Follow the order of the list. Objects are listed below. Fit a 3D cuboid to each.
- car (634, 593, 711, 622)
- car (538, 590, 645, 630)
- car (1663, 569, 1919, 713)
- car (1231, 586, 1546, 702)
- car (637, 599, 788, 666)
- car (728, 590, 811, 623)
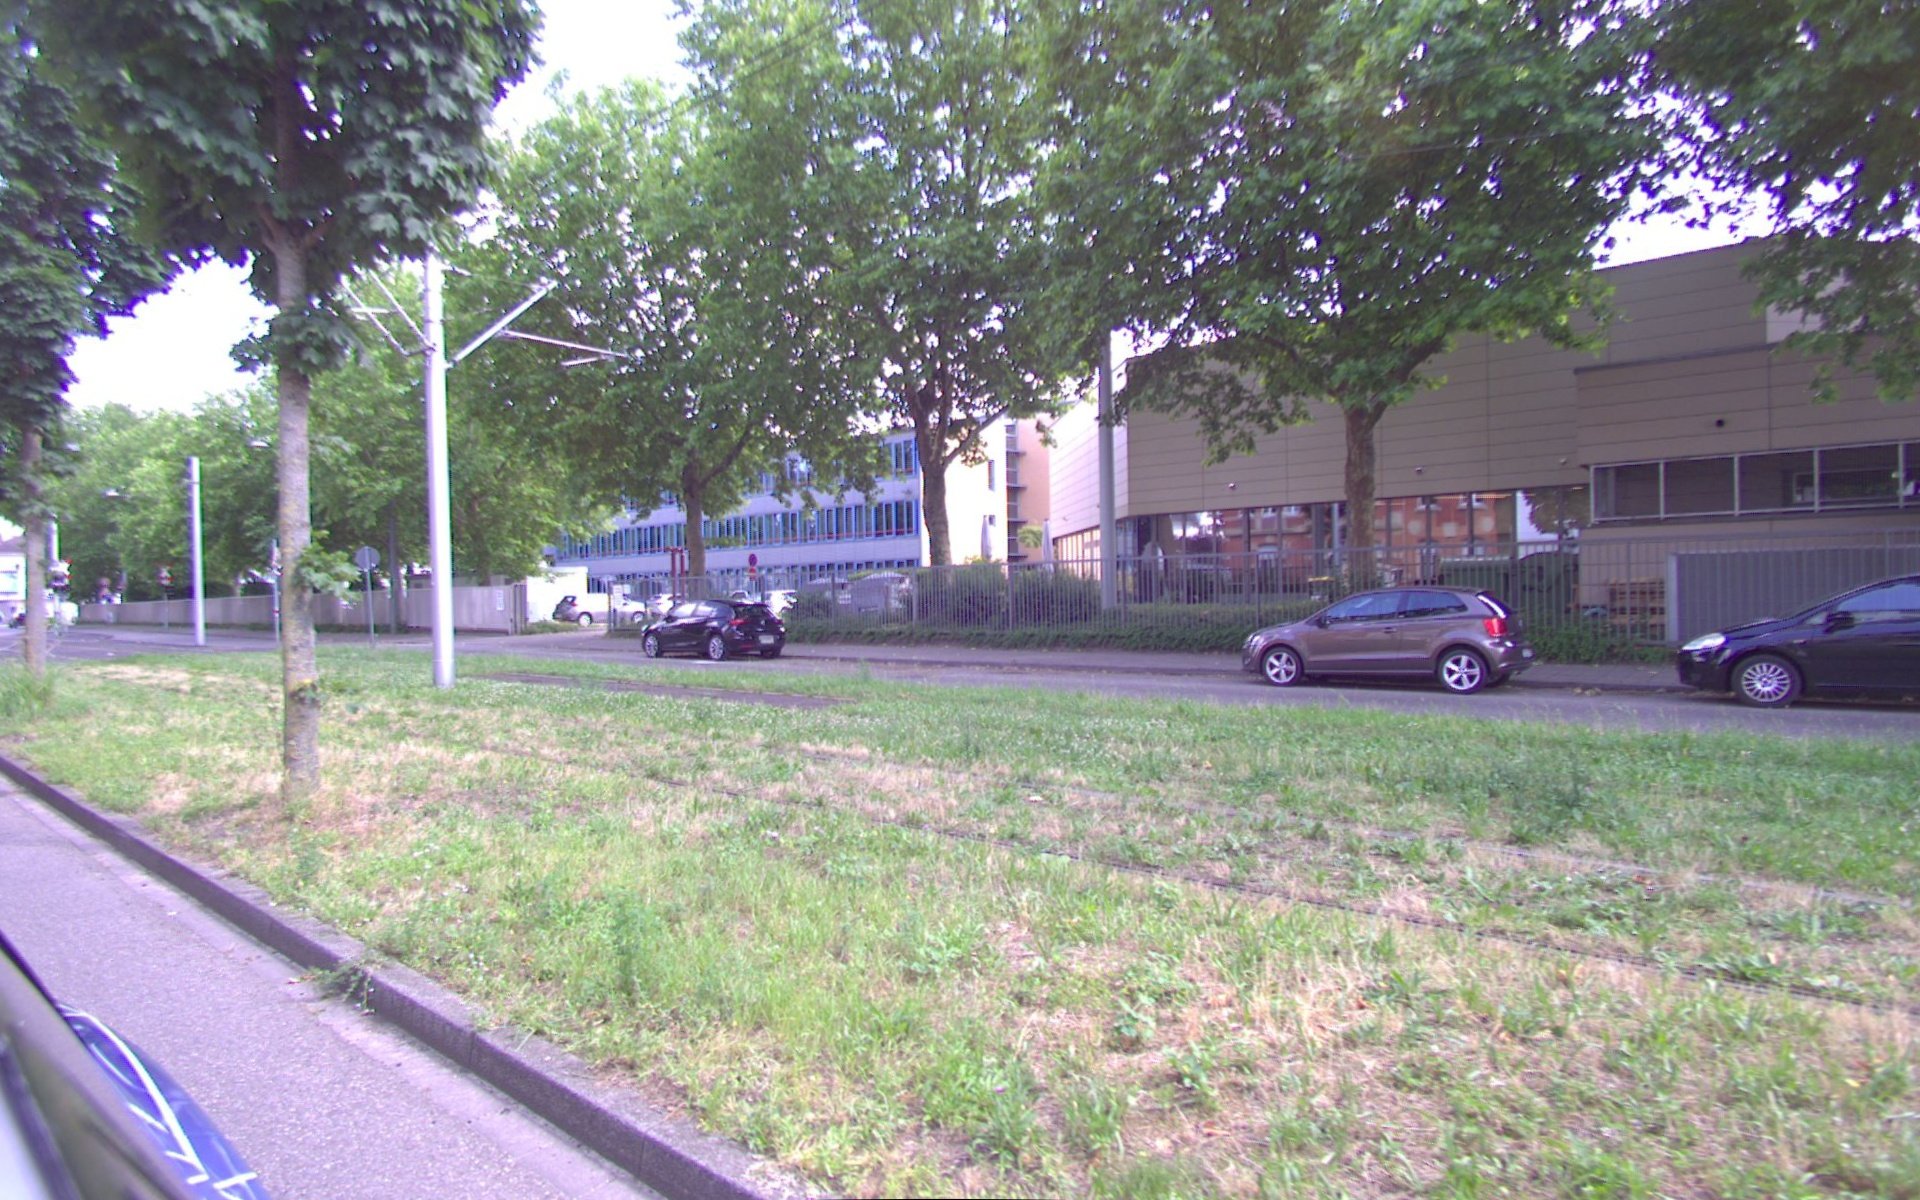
[{"bbox_3d":[-16.940,0.420,59.747,1.998,1.630,3.948,-1,0,38],"label":"car"},{"bbox_3d":[-16.050,0.405,44.186,1.998,1.630,3.948,-1,0,38],"label":"car"},{"bbox_3d":[10.224,0.399,11.017,4.000,1.464,1.783,-1,0,43],"label":"car"},{"bbox_3d":[6.072,0.572,14.589,3.899,1.436,1.538,-1,0,40],"label":"car"},{"bbox_3d":[-6.088,0.760,24.686,3.999,1.475,1.580,-1,0,42],"label":"car"},{"bbox_3d":[-9.868,0.331,52.641,1.998,1.630,3.948,-1,0,38],"label":"car"}]
